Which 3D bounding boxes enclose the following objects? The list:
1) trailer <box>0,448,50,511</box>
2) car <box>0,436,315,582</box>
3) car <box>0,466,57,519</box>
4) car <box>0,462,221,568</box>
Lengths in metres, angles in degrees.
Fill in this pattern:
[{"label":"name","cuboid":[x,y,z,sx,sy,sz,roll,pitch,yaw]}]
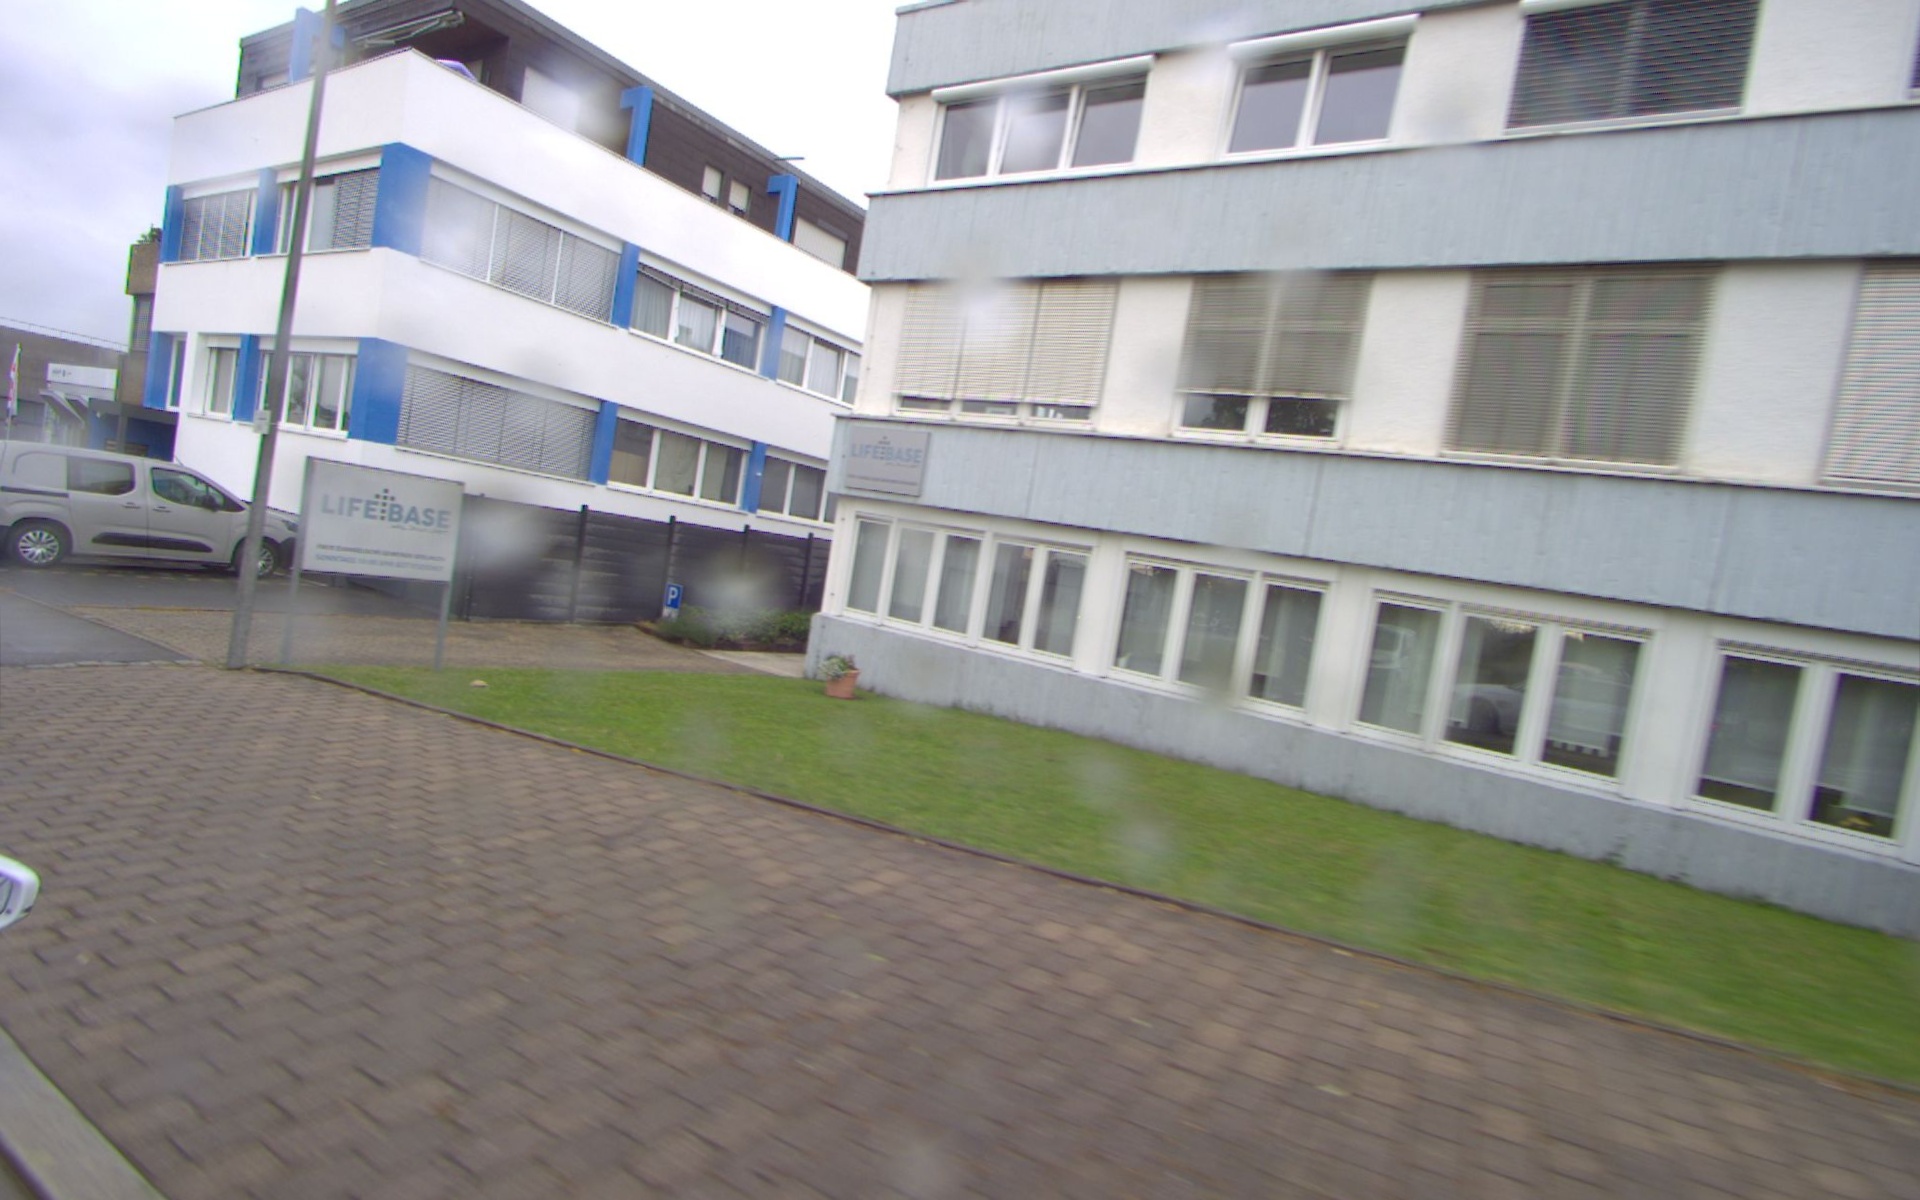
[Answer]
[{"label":"trailer","cuboid":[-41.380,-5.333,43.653,4.240,2.449,1.886,8,3,36]},{"label":"car","cuboid":[-13.195,-1.394,16.062,2.055,1.796,4.342,7,2,32]},{"label":"car","cuboid":[-32.326,-3.645,32.650,1.971,1.595,4.117,6,3,34]},{"label":"car","cuboid":[-15.935,-1.526,17.436,2.046,1.559,4.594,7,3,34]}]
